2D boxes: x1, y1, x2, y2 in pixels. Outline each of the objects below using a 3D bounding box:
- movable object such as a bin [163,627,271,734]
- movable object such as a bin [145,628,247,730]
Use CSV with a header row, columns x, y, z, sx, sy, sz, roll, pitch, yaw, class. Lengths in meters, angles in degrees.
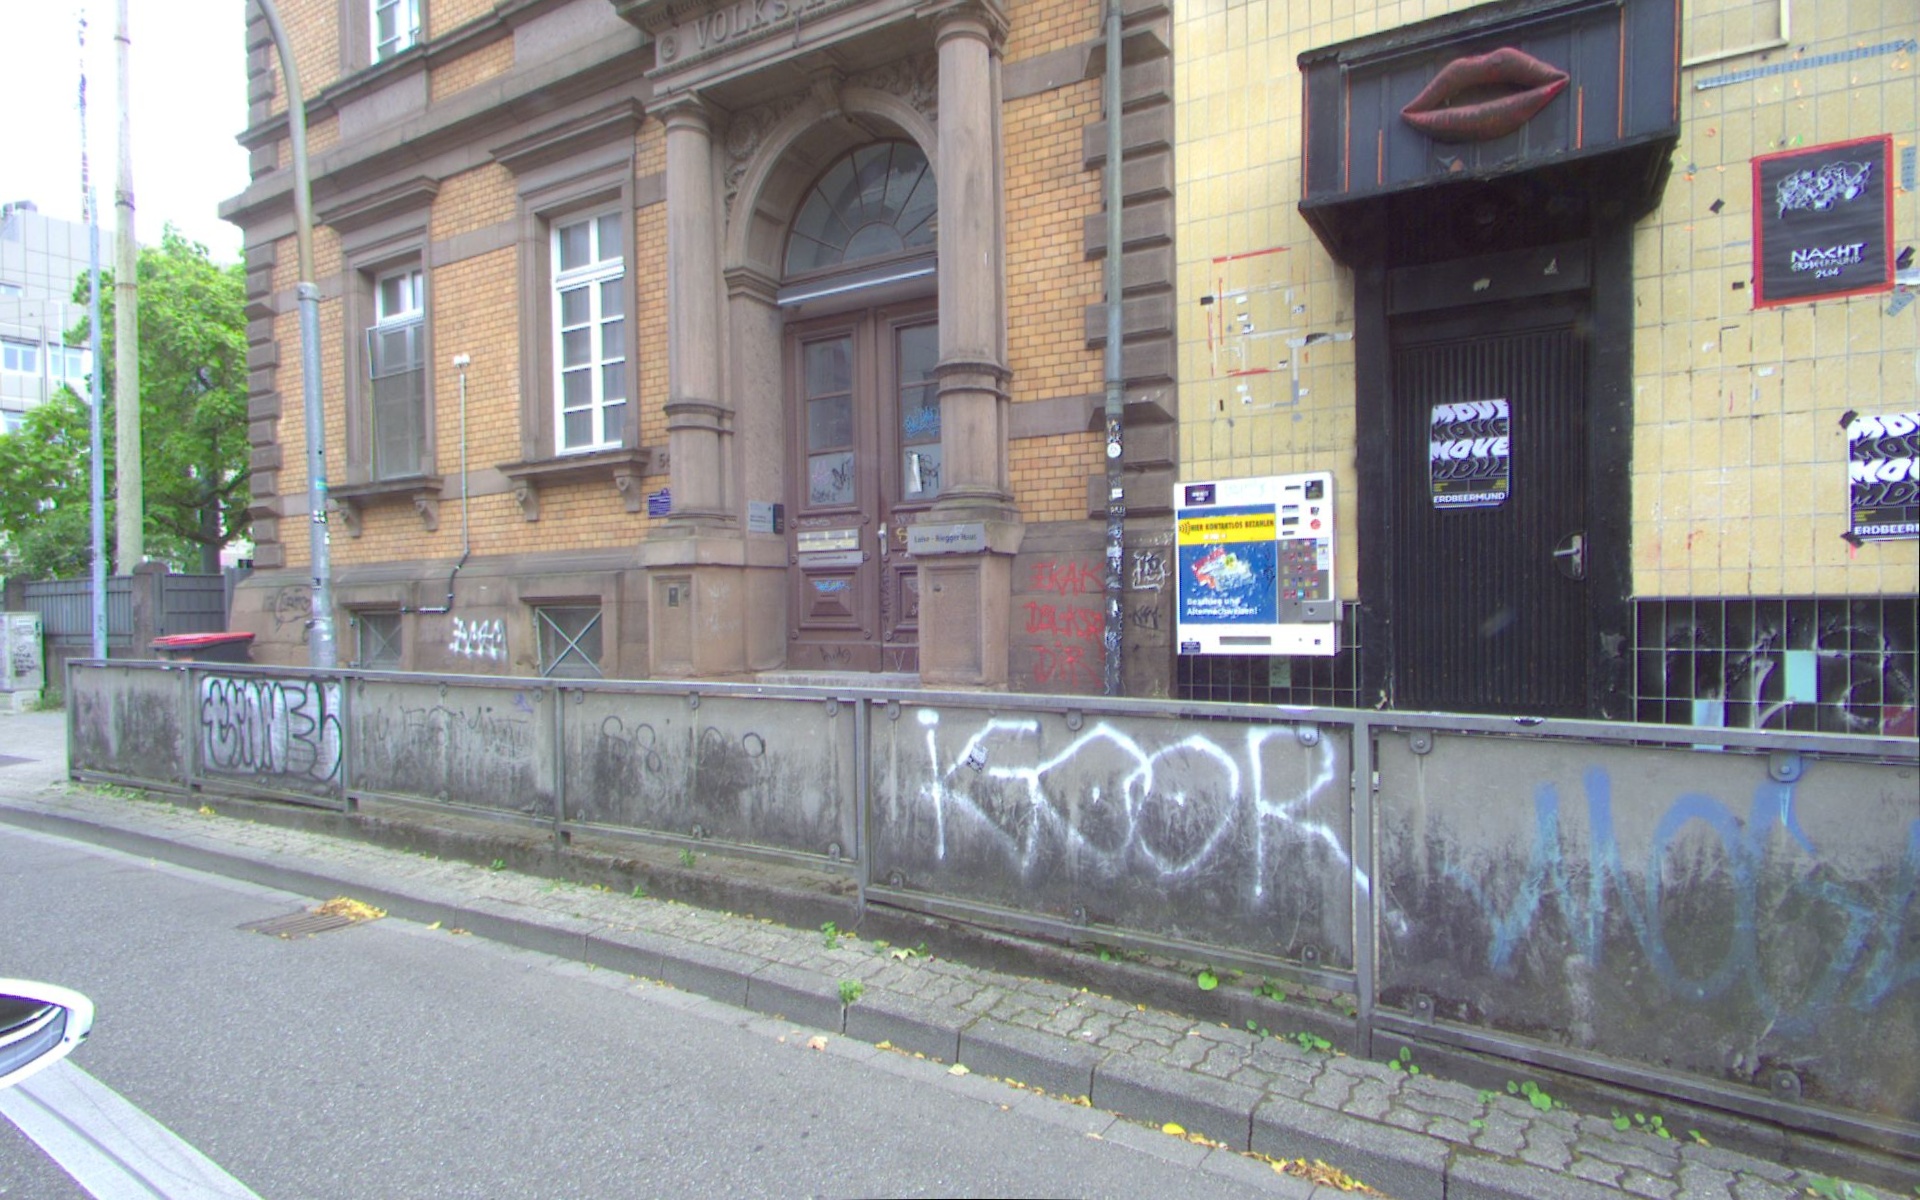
x,y,z,sx,sy,sz,roll,pitch,yaw,class
-8.330,0.882,11.239,0.690,1.097,0.662,-1,4,27,movable object such as a bin
-8.894,0.900,11.669,0.667,1.097,0.650,-1,4,27,movable object such as a bin
